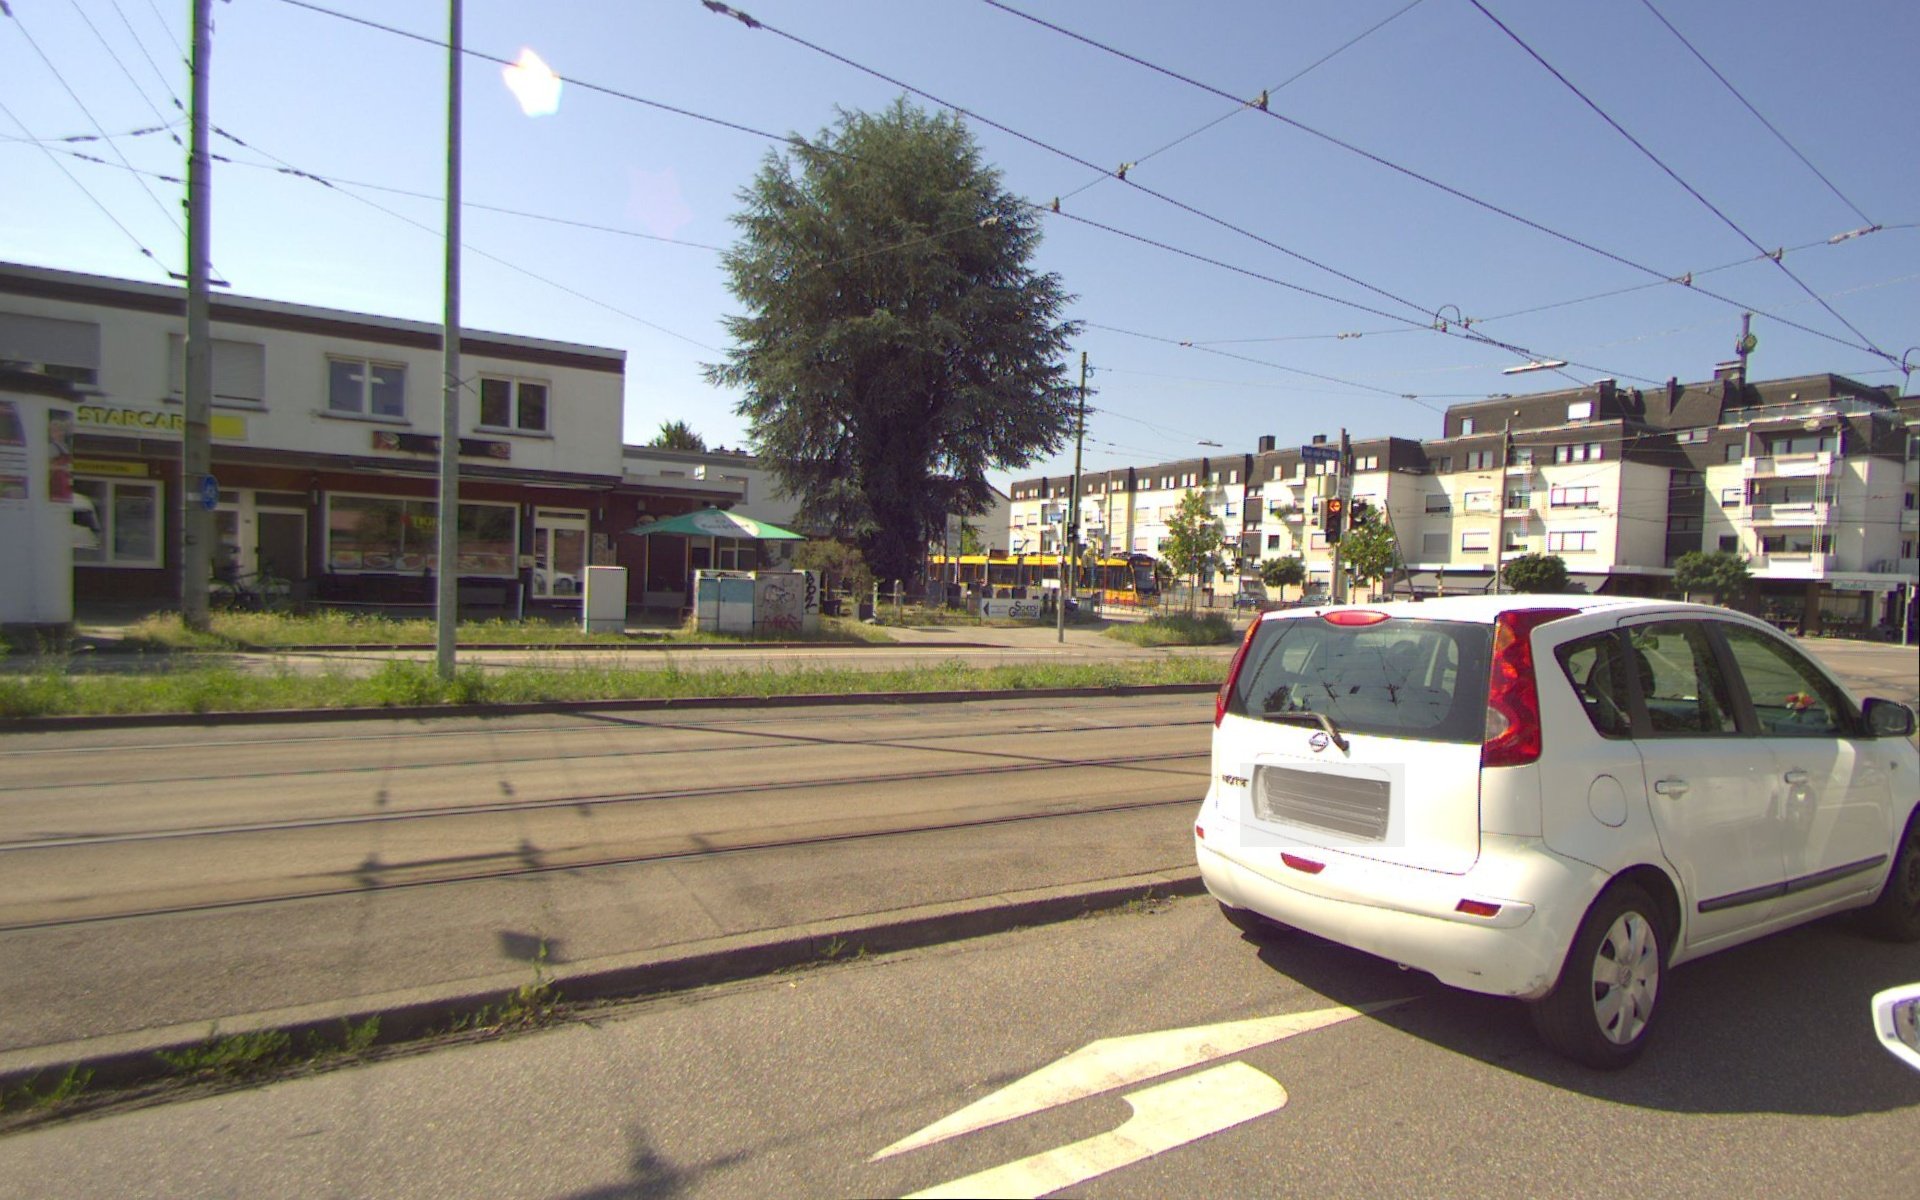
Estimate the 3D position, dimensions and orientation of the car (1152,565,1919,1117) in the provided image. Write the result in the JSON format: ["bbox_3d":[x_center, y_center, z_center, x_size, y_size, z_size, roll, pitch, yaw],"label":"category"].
[{"bbox_3d":[2.847,0.702,4.553,3.759,1.587,1.634,0,0,-31],"label":"car"}]

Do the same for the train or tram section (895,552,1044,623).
[{"bbox_3d":[0.371,-0.934,83.288,4.681,5.217,16.121,2,-1,-30],"label":"train or tram section"}]

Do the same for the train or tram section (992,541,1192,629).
[{"bbox_3d":[8.527,-0.900,69.387,4.681,5.217,16.121,2,-1,-30],"label":"train or tram section"}]

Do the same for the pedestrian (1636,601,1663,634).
[{"bbox_3d":[38.081,0.967,55.517,0.955,1.766,0.865,2,-1,15],"label":"pedestrian"}]

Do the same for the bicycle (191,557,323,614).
[{"bbox_3d":[-15.520,-0.296,22.270,2.306,1.167,0.783,2,-1,-30],"label":"bicycle"}]

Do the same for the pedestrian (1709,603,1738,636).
[{"bbox_3d":[42.260,1.099,55.620,0.955,1.766,0.865,2,-1,14],"label":"pedestrian"}]
